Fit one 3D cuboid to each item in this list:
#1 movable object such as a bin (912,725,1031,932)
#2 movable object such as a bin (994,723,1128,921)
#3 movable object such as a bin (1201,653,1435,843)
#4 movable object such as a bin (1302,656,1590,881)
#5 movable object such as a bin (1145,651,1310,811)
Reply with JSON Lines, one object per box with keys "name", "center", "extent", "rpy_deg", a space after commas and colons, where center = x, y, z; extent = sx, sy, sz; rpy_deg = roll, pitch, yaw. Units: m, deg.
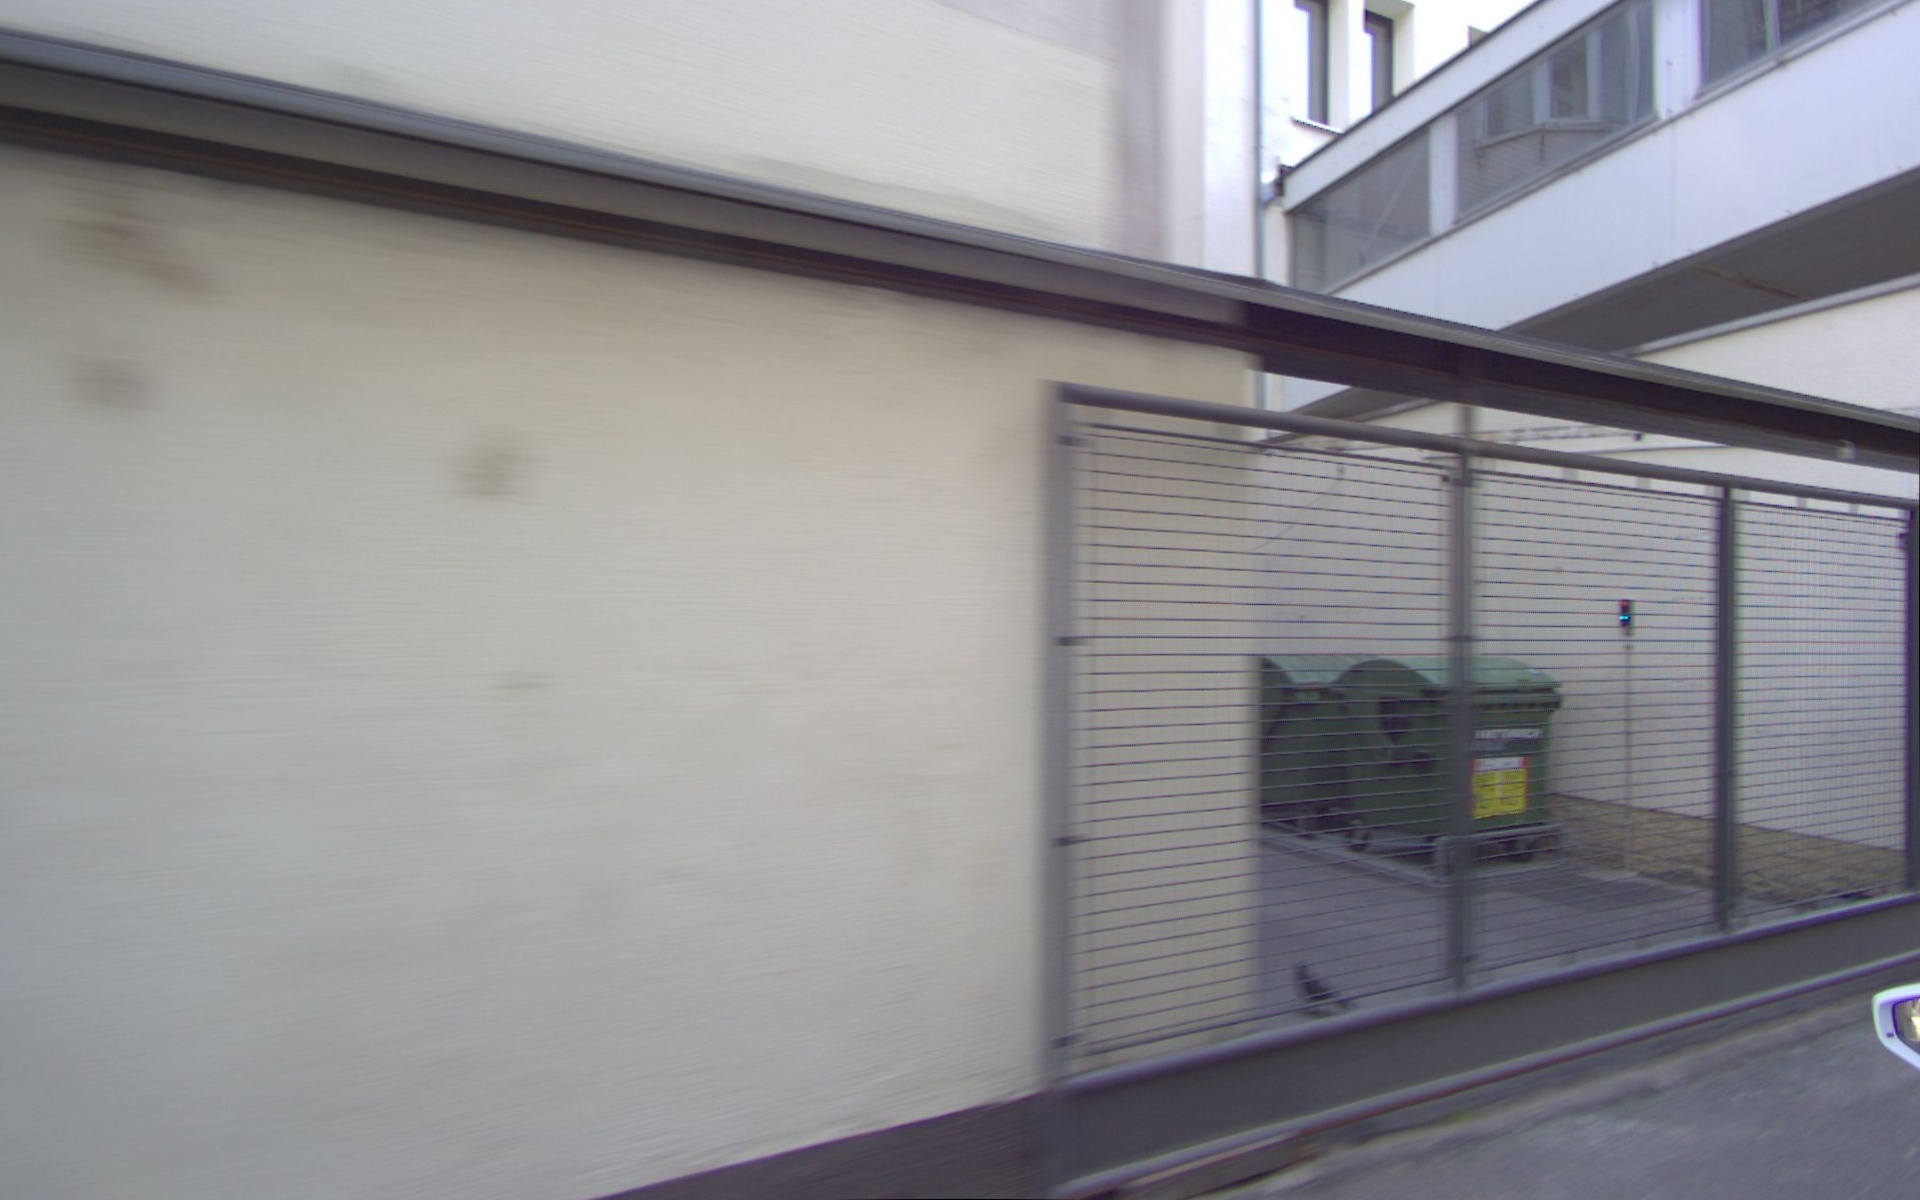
{"name": "movable object such as a bin", "center": [0.063, 1.278, 5.792], "extent": [0.518, 1.061, 0.505], "rpy_deg": [1, -3, -26]}
{"name": "movable object such as a bin", "center": [0.607, 1.312, 6.128], "extent": [0.600, 1.061, 0.592], "rpy_deg": [1, -3, -26]}
{"name": "movable object such as a bin", "center": [3.017, 1.179, 8.529], "extent": [1.567, 1.443, 1.069], "rpy_deg": [1, -3, -24]}
{"name": "movable object such as a bin", "center": [3.545, 1.141, 7.397], "extent": [1.567, 1.443, 1.178], "rpy_deg": [1, -3, -24]}
{"name": "movable object such as a bin", "center": [2.597, 1.225, 9.855], "extent": [1.156, 1.443, 1.069], "rpy_deg": [1, -3, -24]}
